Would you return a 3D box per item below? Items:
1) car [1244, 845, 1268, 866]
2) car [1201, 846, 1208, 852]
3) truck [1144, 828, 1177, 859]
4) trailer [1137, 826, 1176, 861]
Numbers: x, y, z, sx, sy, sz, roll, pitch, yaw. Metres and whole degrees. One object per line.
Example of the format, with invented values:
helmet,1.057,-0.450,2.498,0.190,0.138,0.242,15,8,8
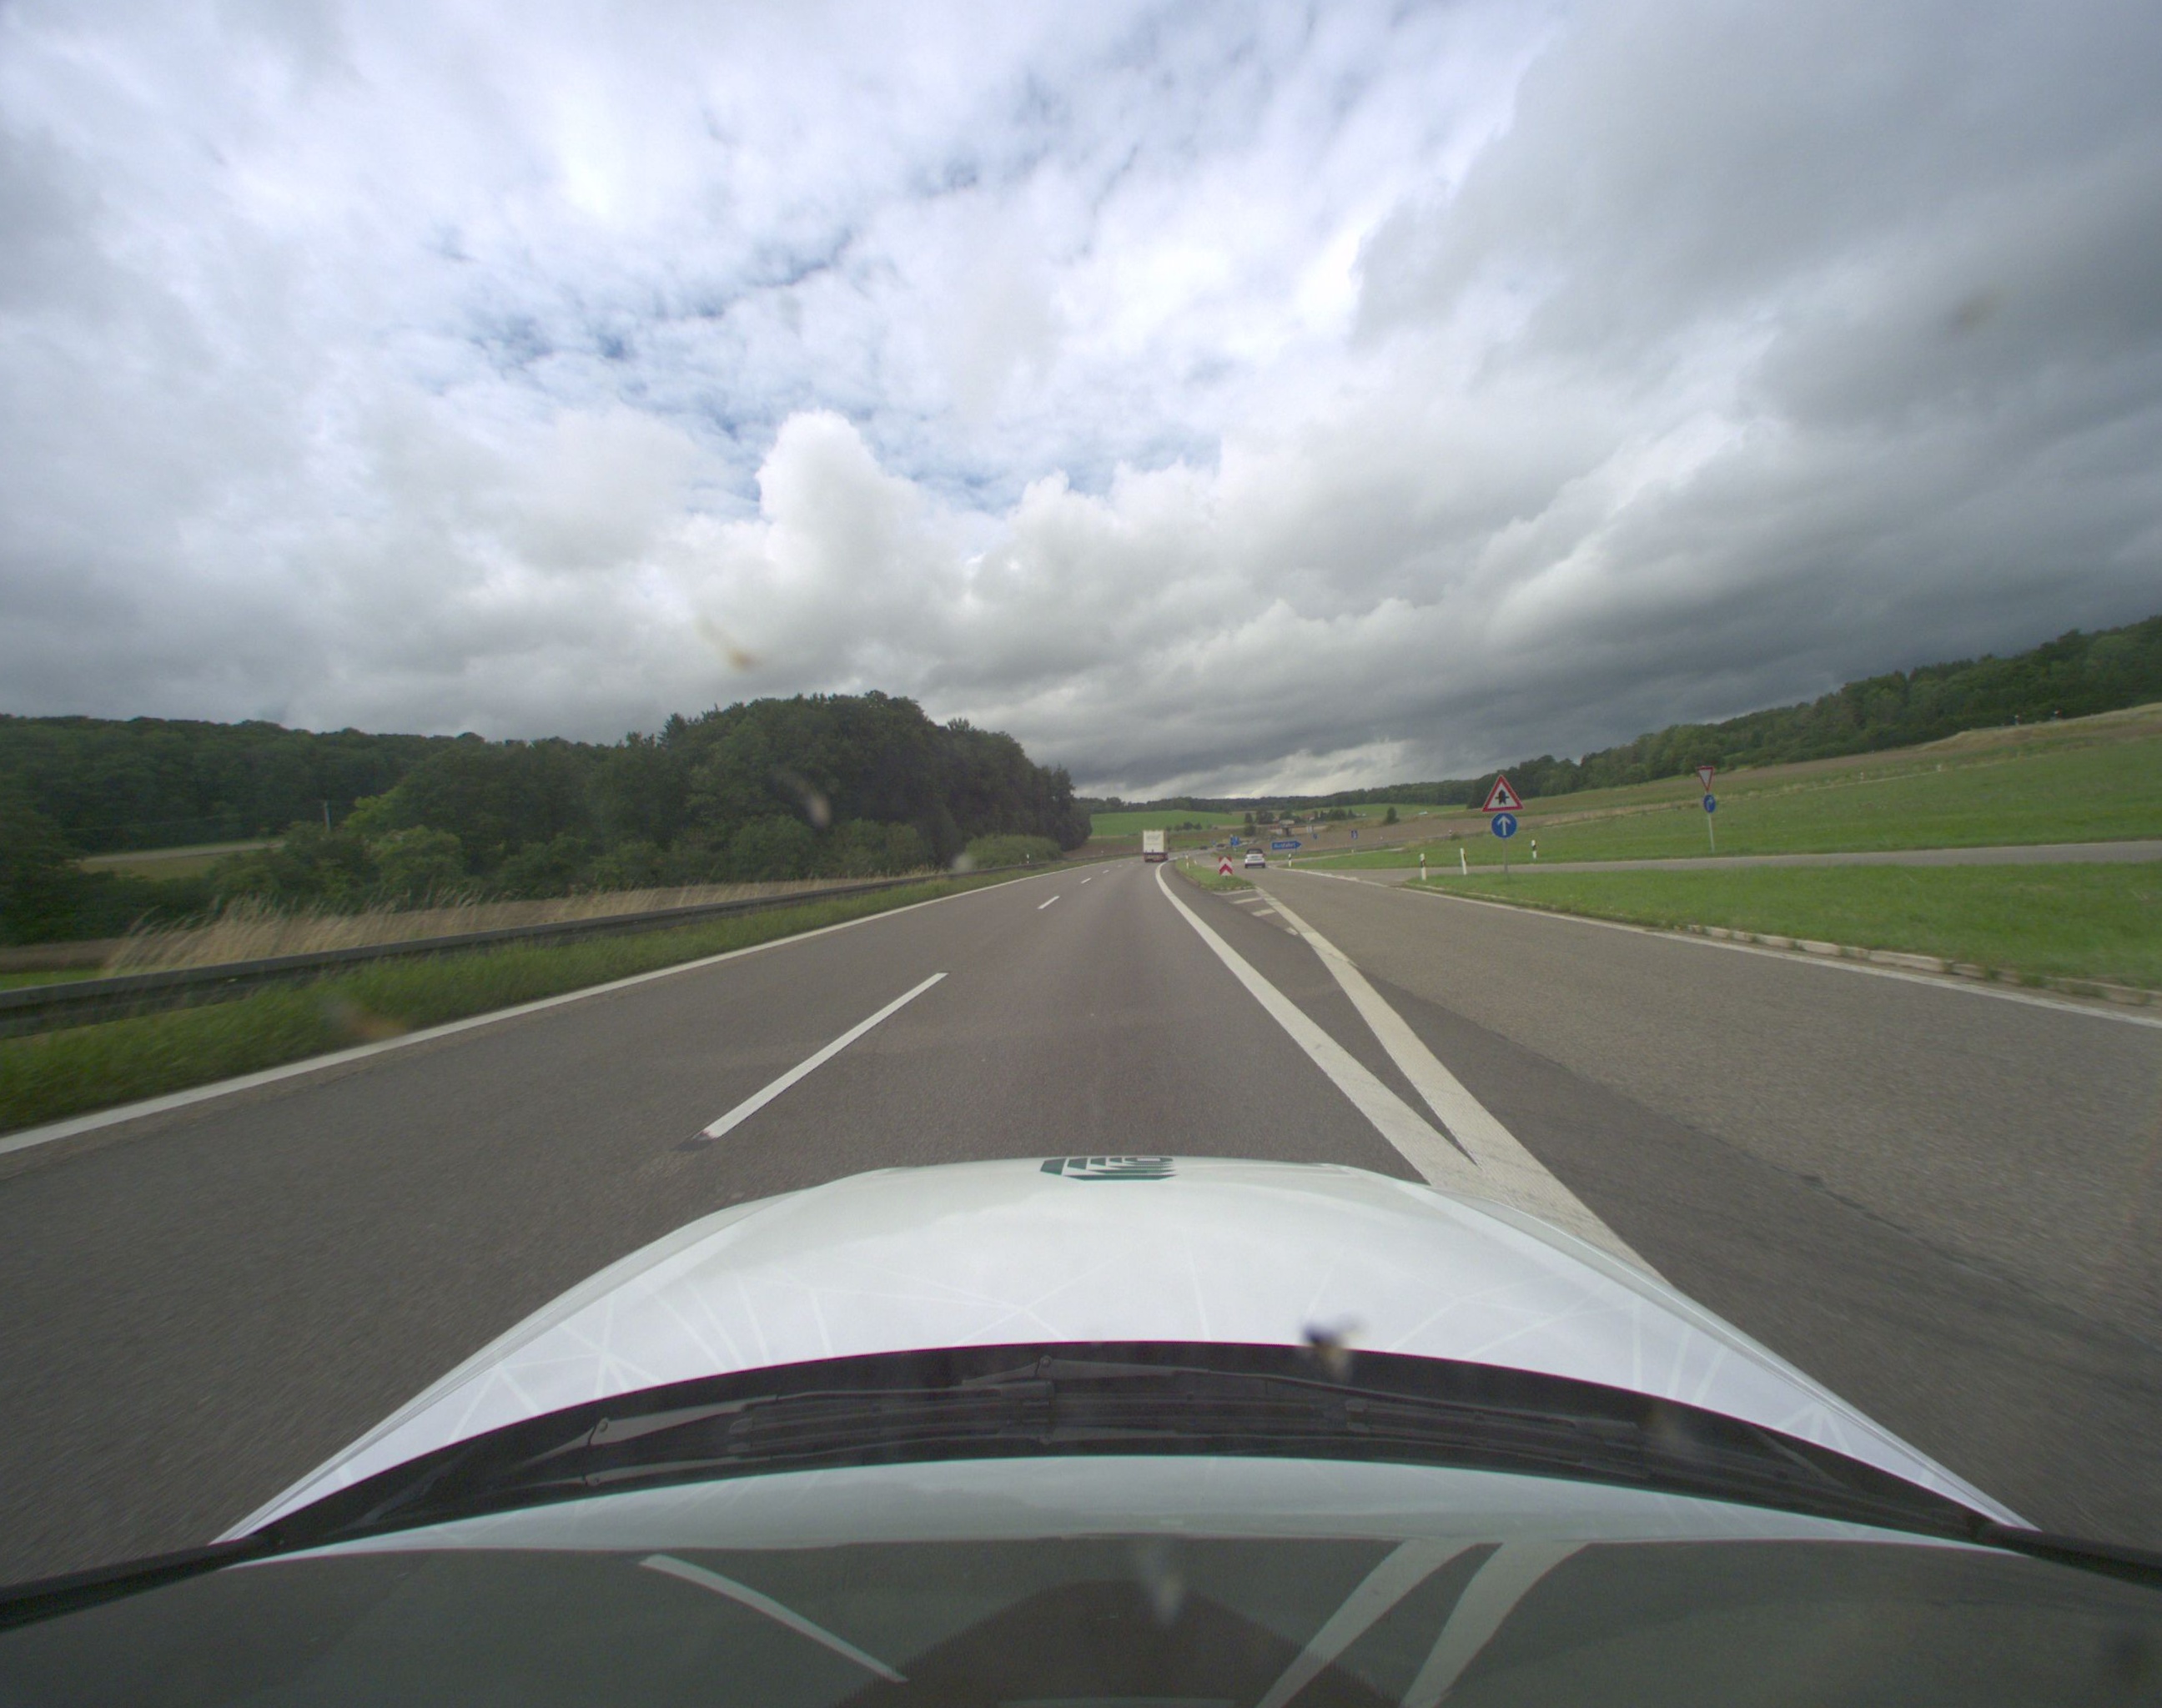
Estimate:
car,13.764,0.104,64.183,1.766,1.552,4.013,-3,1,11
car,38.626,-1.662,254.128,1.890,1.795,4.012,-2,-1,11
truck,11.009,-1.408,111.732,3.764,4.131,8.288,0,1,10
trailer,9.853,-1.326,104.878,3.783,4.174,14.849,-1,1,10
